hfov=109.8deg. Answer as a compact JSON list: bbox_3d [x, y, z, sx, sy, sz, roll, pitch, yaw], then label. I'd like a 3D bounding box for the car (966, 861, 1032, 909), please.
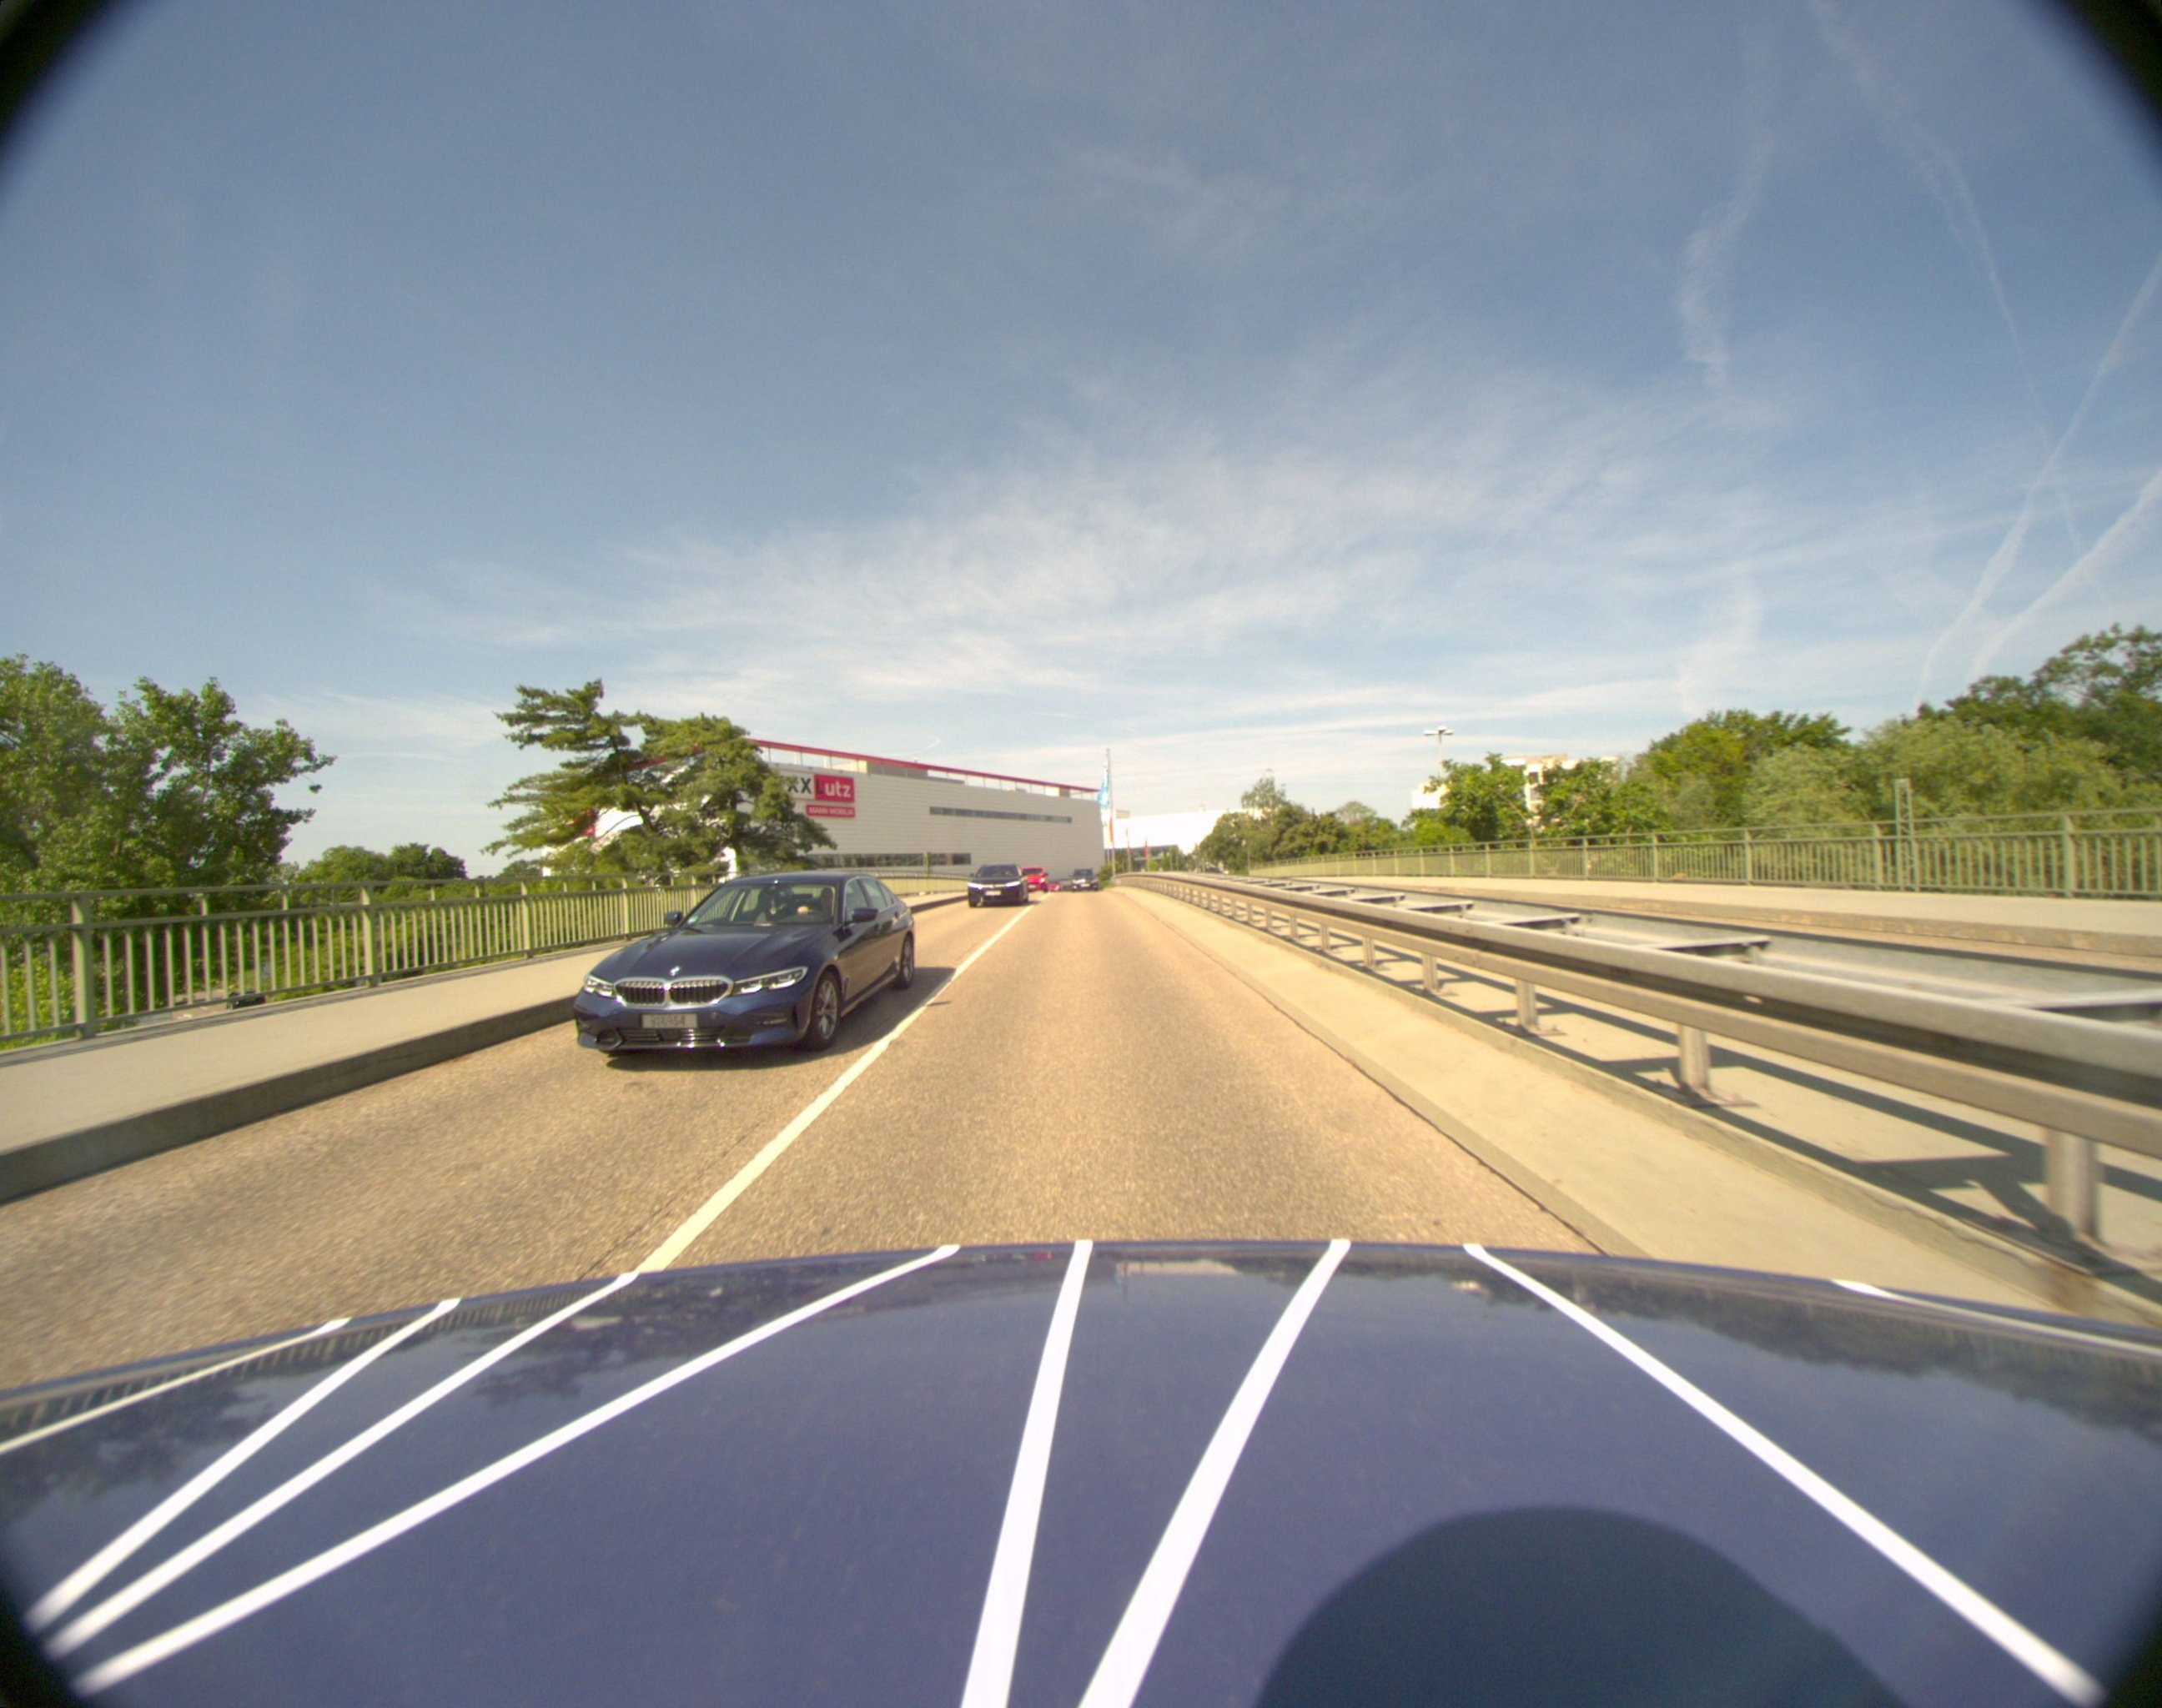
[{"bbox_3d":[-2.885,1.069,27.551,1.861,1.520,4.144,-3,-1,0],"label":"car"}]

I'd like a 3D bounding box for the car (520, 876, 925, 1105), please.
[{"bbox_3d":[-2.949,1.009,7.521,1.792,1.474,4.521,-2,-1,0],"label":"car"}]

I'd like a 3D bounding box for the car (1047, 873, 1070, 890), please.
[{"bbox_3d":[-2.276,2.804,77.842,1.776,1.648,4.148,-1,-2,6],"label":"car"}]

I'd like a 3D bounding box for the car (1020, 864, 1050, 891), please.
[{"bbox_3d":[-3.365,1.767,56.226,1.988,1.895,4.145,0,-2,0],"label":"car"}]

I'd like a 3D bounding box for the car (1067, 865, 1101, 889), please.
[{"bbox_3d":[0.228,1.465,47.684,1.849,1.409,4.002,-1,-2,4],"label":"car"}]
